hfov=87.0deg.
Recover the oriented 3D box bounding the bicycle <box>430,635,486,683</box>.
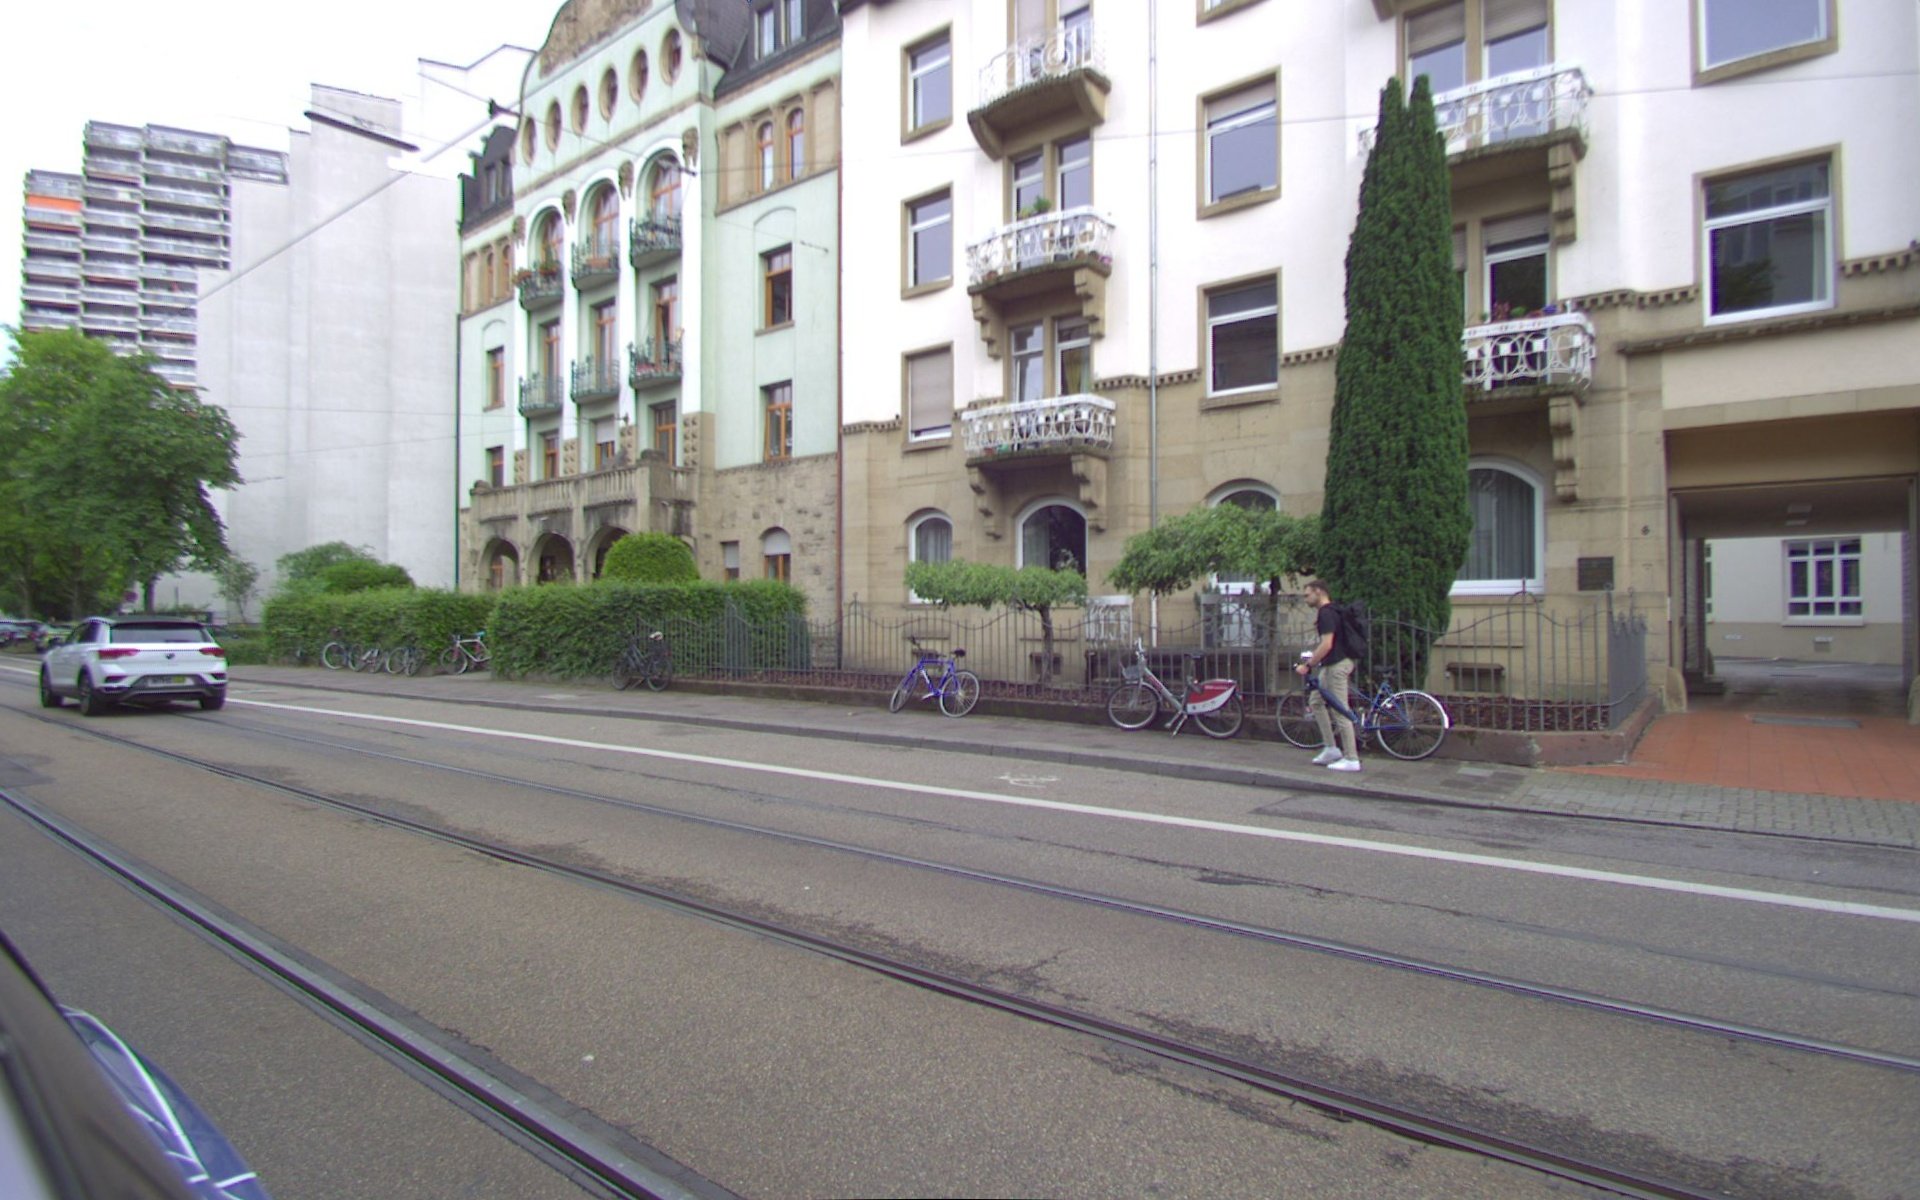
[{"bbox_3d":[-12.370,1.432,24.934,0.300,1.091,1.190,-1,0,40],"label":"bicycle"}]

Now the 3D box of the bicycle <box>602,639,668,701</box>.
[{"bbox_3d":[-5.995,1.271,18.628,1.545,1.092,0.356,-1,-2,39],"label":"bicycle"}]

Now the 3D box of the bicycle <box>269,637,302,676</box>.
[{"bbox_3d":[-19.966,1.661,29.963,1.545,1.092,0.356,-1,-2,39],"label":"bicycle"}]

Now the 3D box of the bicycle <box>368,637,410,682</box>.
[{"bbox_3d":[-14.232,1.464,25.230,1.545,1.092,0.356,-1,-2,39],"label":"bicycle"}]

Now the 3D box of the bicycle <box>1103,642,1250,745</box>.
[{"bbox_3d":[2.473,1.046,11.646,1.617,1.110,0.382,-1,-2,28],"label":"bicycle"}]

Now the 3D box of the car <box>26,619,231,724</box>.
[{"bbox_3d":[-13.595,1.092,16.490,3.924,1.508,1.682,-1,-3,37],"label":"car"}]

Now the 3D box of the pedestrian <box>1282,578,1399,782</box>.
[{"bbox_3d":[3.659,0.741,9.741,0.881,1.858,0.661,-1,-2,38],"label":"pedestrian"}]

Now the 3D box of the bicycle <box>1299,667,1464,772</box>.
[{"bbox_3d":[4.253,1.182,10.278,1.513,0.945,0.329,-1,-2,39],"label":"bicycle"}]

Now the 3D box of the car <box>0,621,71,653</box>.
[{"bbox_3d":[-49.839,1.964,53.901,1.670,1.632,4.004,0,-2,-5],"label":"car"}]

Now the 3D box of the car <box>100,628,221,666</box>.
[{"bbox_3d":[-31.551,1.818,40.071,1.671,1.414,4.000,0,-2,-1],"label":"car"}]

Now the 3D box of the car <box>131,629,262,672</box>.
[{"bbox_3d":[-27.080,1.763,36.063,1.671,1.414,4.000,0,-2,-1],"label":"car"}]

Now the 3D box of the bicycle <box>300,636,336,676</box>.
[{"bbox_3d":[-17.952,1.557,28.296,1.545,1.092,0.356,-1,-2,39],"label":"bicycle"}]

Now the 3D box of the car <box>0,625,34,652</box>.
[{"bbox_3d":[-59.947,2.380,62.711,1.670,1.632,4.004,0,-2,-5],"label":"car"}]

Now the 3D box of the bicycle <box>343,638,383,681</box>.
[{"bbox_3d":[-15.510,1.528,26.287,1.545,1.092,0.356,-1,-2,39],"label":"bicycle"}]

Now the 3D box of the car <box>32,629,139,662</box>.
[{"bbox_3d":[-39.729,2.053,46.107,1.670,1.405,4.004,0,-2,-5],"label":"car"}]

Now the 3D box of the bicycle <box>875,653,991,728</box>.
[{"bbox_3d":[-0.394,1.248,14.215,1.660,0.935,0.354,-2,-21,41],"label":"bicycle"}]

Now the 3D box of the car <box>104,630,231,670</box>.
[{"bbox_3d":[-29.393,1.819,37.700,1.671,1.414,4.000,0,-2,-1],"label":"car"}]

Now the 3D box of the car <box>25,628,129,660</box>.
[{"bbox_3d":[-41.958,2.062,48.201,1.670,1.453,4.004,0,-2,-5],"label":"car"}]
